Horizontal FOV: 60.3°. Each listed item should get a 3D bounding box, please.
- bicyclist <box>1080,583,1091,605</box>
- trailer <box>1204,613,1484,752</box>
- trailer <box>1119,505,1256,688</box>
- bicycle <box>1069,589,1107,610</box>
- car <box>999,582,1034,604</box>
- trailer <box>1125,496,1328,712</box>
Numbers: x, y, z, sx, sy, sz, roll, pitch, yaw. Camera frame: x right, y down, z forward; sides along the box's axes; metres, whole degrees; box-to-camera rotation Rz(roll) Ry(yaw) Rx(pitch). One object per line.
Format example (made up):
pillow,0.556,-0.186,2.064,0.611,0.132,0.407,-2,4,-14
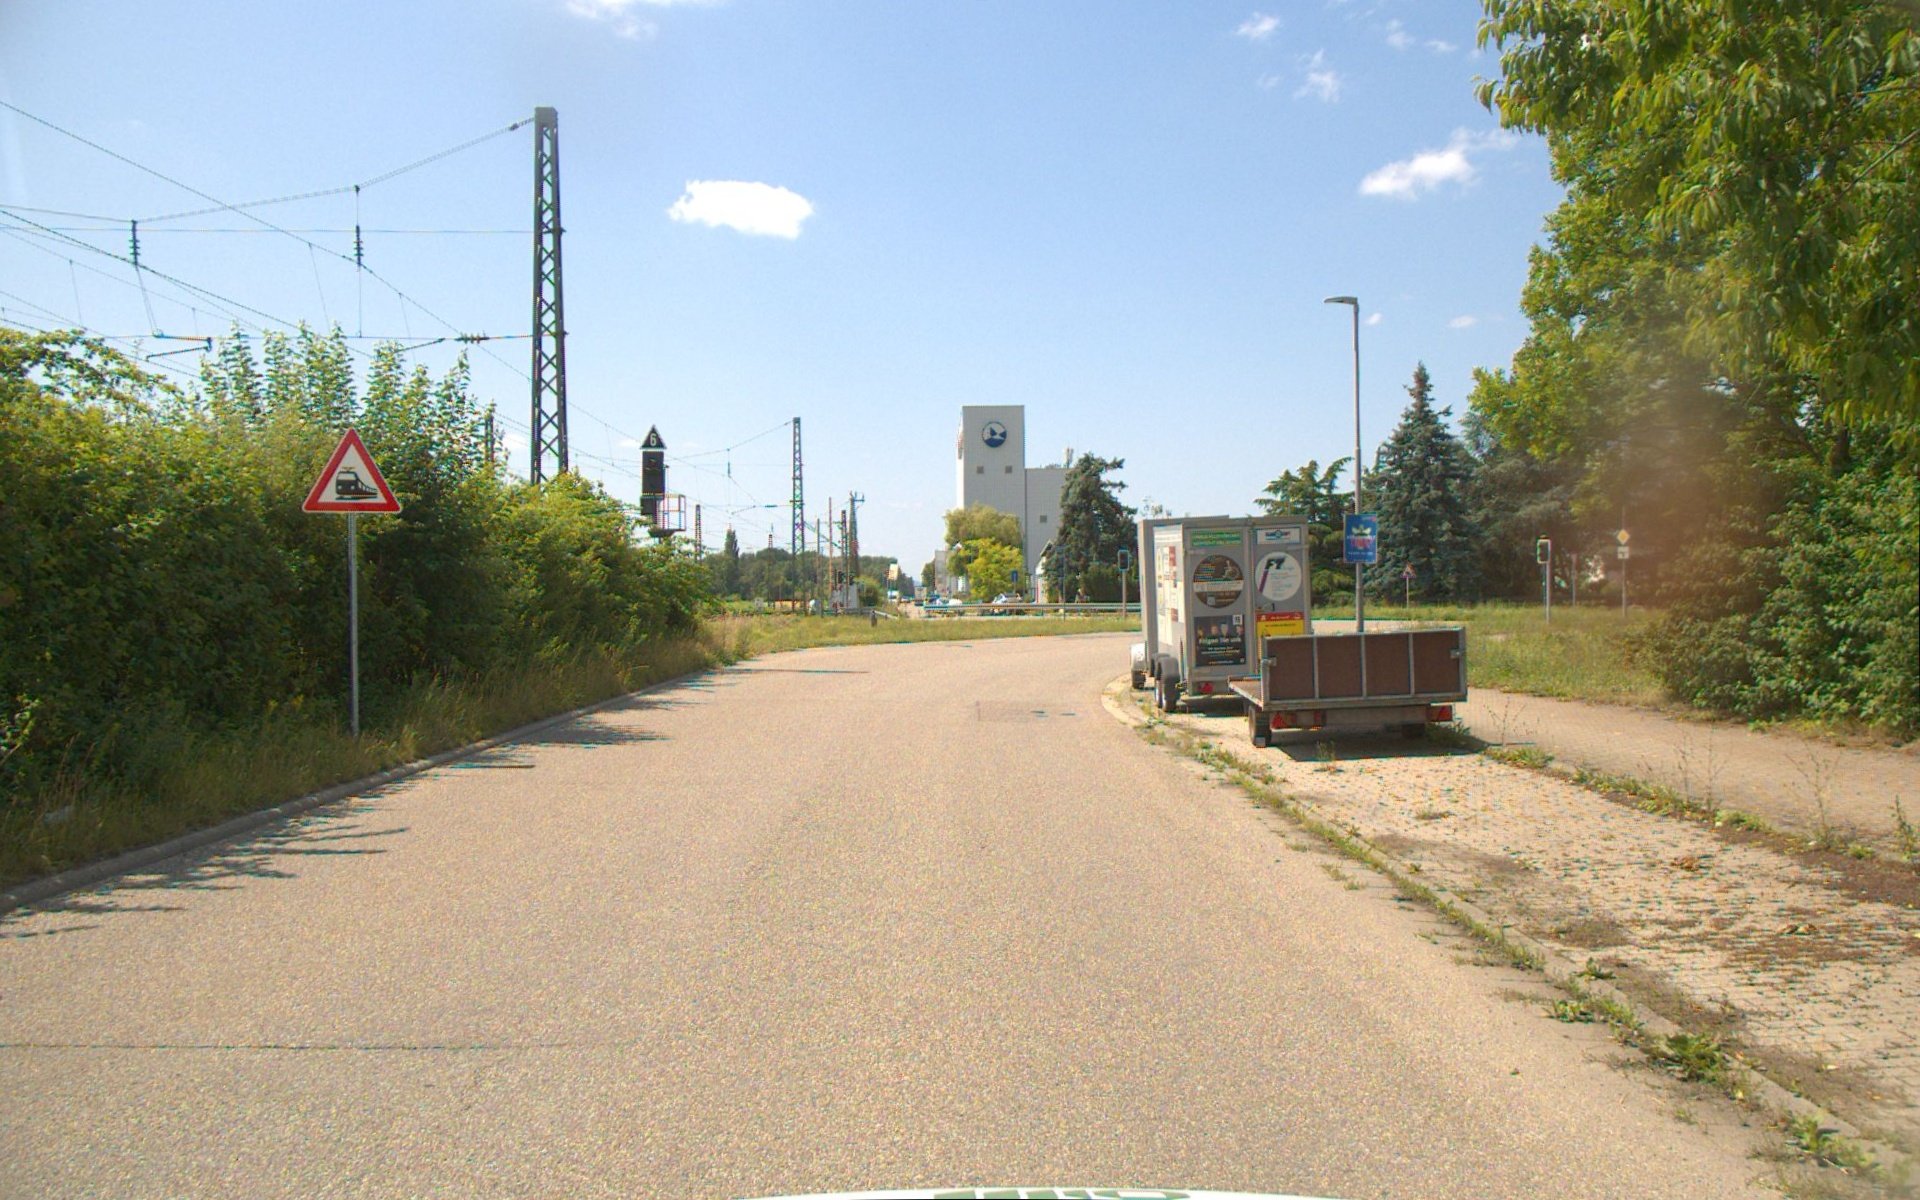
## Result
bicyclist,7.238,-0.364,95.210,0.500,1.277,0.469,0,0,27
trailer,3.811,0.769,17.235,1.963,1.142,4.490,-3,0,2
trailer,3.714,-0.074,27.823,1.892,2.690,5.187,-3,0,5
bicycle,7.368,-0.034,95.156,2.097,1.185,0.660,0,0,27
car,4.099,-0.533,120.754,1.955,1.536,4.448,-1,0,-6
trailer,3.516,0.036,22.699,1.880,2.552,4.740,-3,0,0
